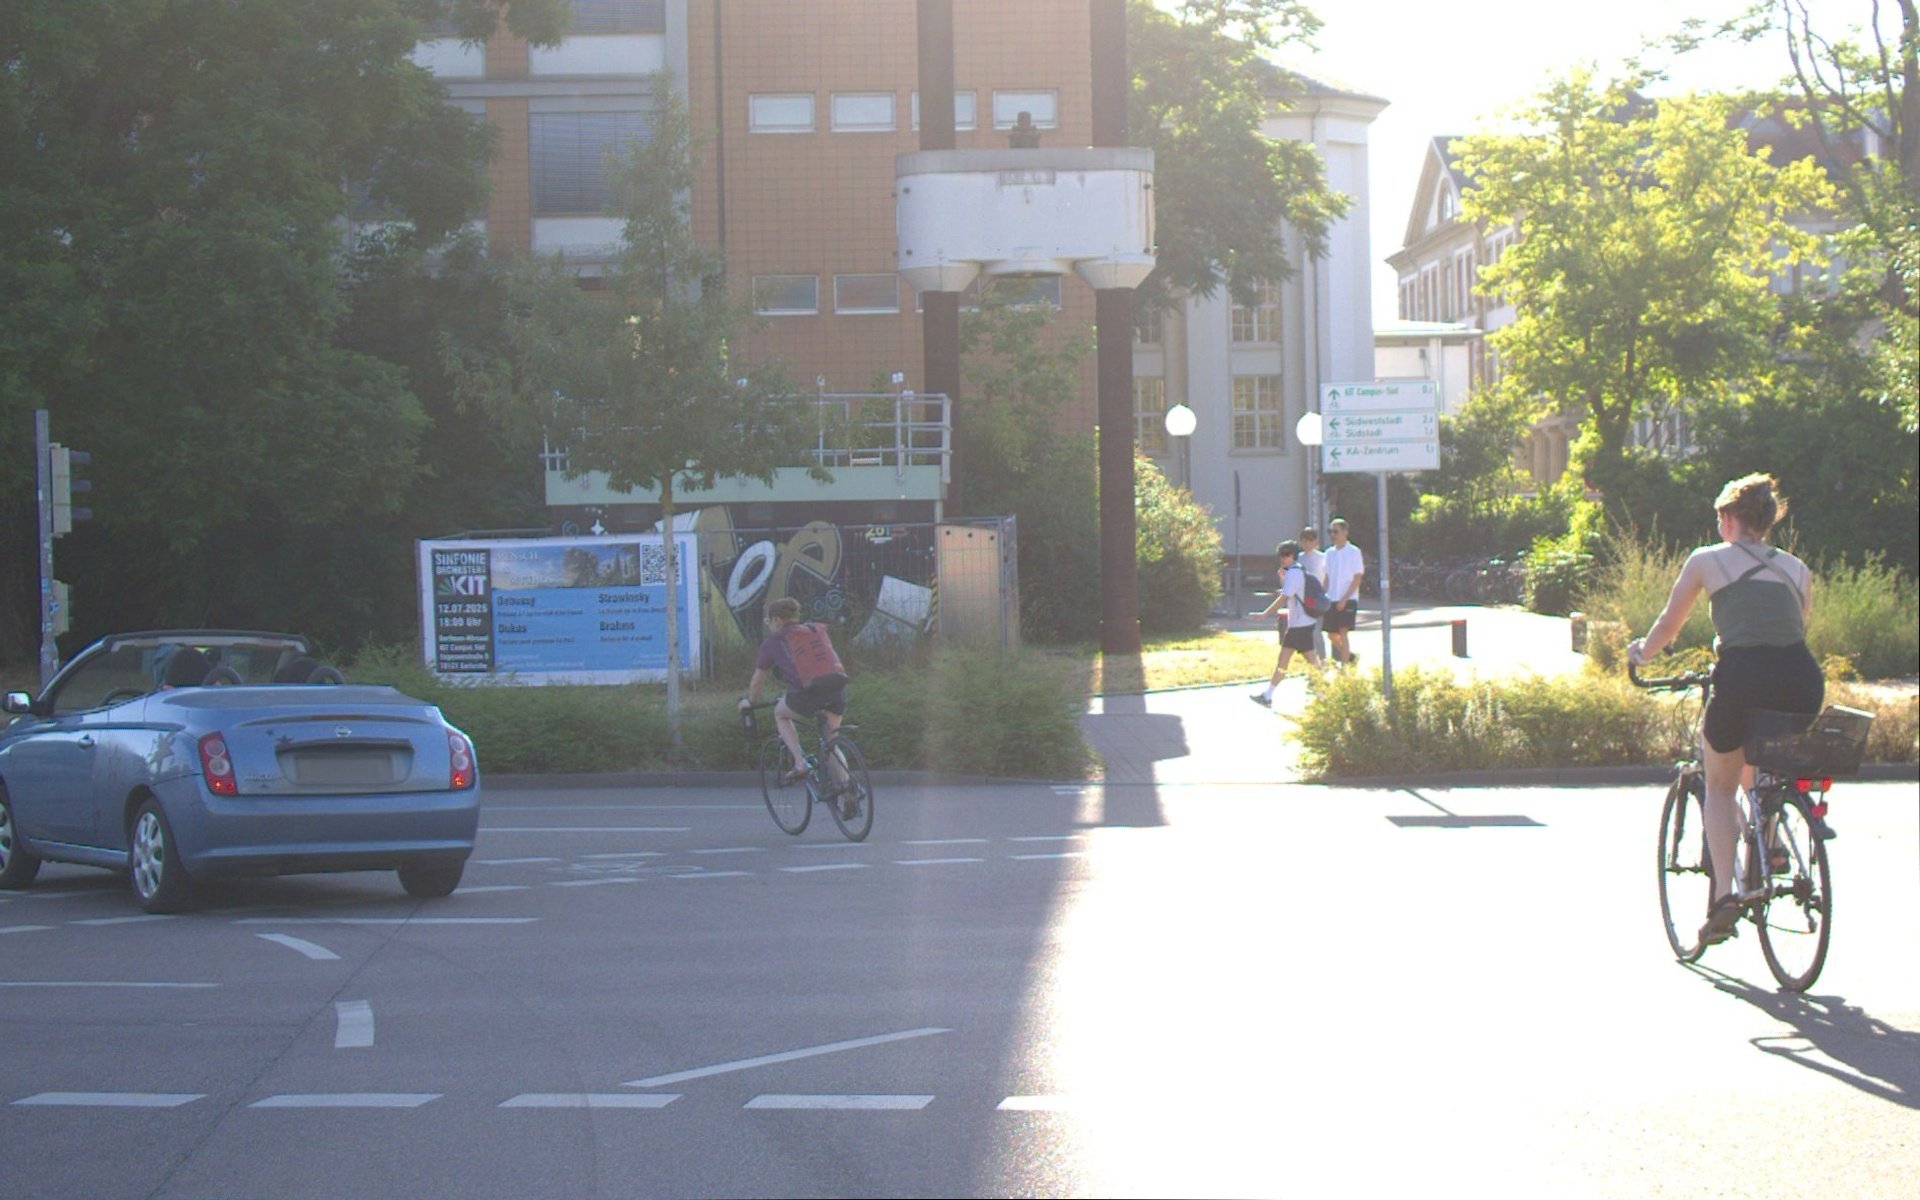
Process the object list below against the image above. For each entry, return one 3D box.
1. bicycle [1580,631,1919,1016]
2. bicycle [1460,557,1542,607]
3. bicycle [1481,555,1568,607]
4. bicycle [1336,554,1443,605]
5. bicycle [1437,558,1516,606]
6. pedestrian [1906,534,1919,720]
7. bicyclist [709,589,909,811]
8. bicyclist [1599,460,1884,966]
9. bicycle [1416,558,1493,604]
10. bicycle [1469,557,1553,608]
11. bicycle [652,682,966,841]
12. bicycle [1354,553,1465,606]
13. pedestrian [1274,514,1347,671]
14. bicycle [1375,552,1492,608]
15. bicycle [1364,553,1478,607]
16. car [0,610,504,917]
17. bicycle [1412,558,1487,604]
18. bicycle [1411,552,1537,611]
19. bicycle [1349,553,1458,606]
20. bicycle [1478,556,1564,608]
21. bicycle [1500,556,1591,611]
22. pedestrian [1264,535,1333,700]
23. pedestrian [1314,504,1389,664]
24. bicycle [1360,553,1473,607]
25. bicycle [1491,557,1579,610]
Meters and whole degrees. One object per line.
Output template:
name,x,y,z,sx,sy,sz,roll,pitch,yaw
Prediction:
bicycle,2.708,0.721,12.046,0.778,1.152,2.291,-1,1,4
bicycle,12.349,-0.406,78.520,1.794,1.104,0.500,1,0,2
bicycle,12.265,-0.416,74.752,1.794,1.104,0.500,1,0,2
bicycle,11.929,-0.583,95.583,2.872,1.376,0.682,1,0,2
bicycle,12.158,-0.434,80.963,1.794,1.104,0.500,1,0,2
pedestrian,9.159,0.238,31.580,0.731,1.707,0.712,-1,1,2
bicyclist,-0.976,0.642,22.080,0.720,1.380,1.075,-1,-1,-42
bicyclist,2.696,0.366,11.960,0.778,1.671,1.093,-1,1,4
bicycle,12.024,-0.462,83.582,1.794,1.104,0.500,1,0,2
bicycle,12.357,-0.392,77.059,1.794,1.104,0.500,1,0,2
bicycle,-0.999,1.033,22.114,0.720,0.949,2.248,-1,-1,-42
bicycle,12.018,-0.545,91.923,2.872,1.376,0.682,1,0,2
pedestrian,4.208,-0.097,41.275,0.575,1.863,0.622,-2,1,-37
bicycle,12.009,-0.499,87.303,2.872,1.376,0.682,1,0,2
bicycle,11.979,-0.520,89.343,2.872,1.376,0.682,1,0,2
car,-4.103,0.797,18.320,1.801,1.439,3.978,0,-1,-33
bicycle,12.166,-0.479,85.513,1.794,1.104,0.500,1,0,2
bicycle,12.207,-0.441,81.732,2.872,1.376,0.682,1,0,2
bicycle,12.055,-0.561,93.521,2.872,1.376,0.682,1,0,2
bicycle,12.328,-0.398,75.558,1.794,1.104,0.500,1,0,2
bicycle,12.117,-0.336,71.132,1.794,1.104,0.500,1,0,2
pedestrian,3.522,0.176,35.754,0.628,1.693,0.622,-1,1,11
pedestrian,4.633,-0.191,40.738,0.575,1.863,0.622,-2,1,-37
bicycle,11.976,-0.529,90.212,2.872,1.376,0.682,1,0,2
bicycle,12.215,-0.354,73.065,1.794,1.104,0.500,1,0,2
